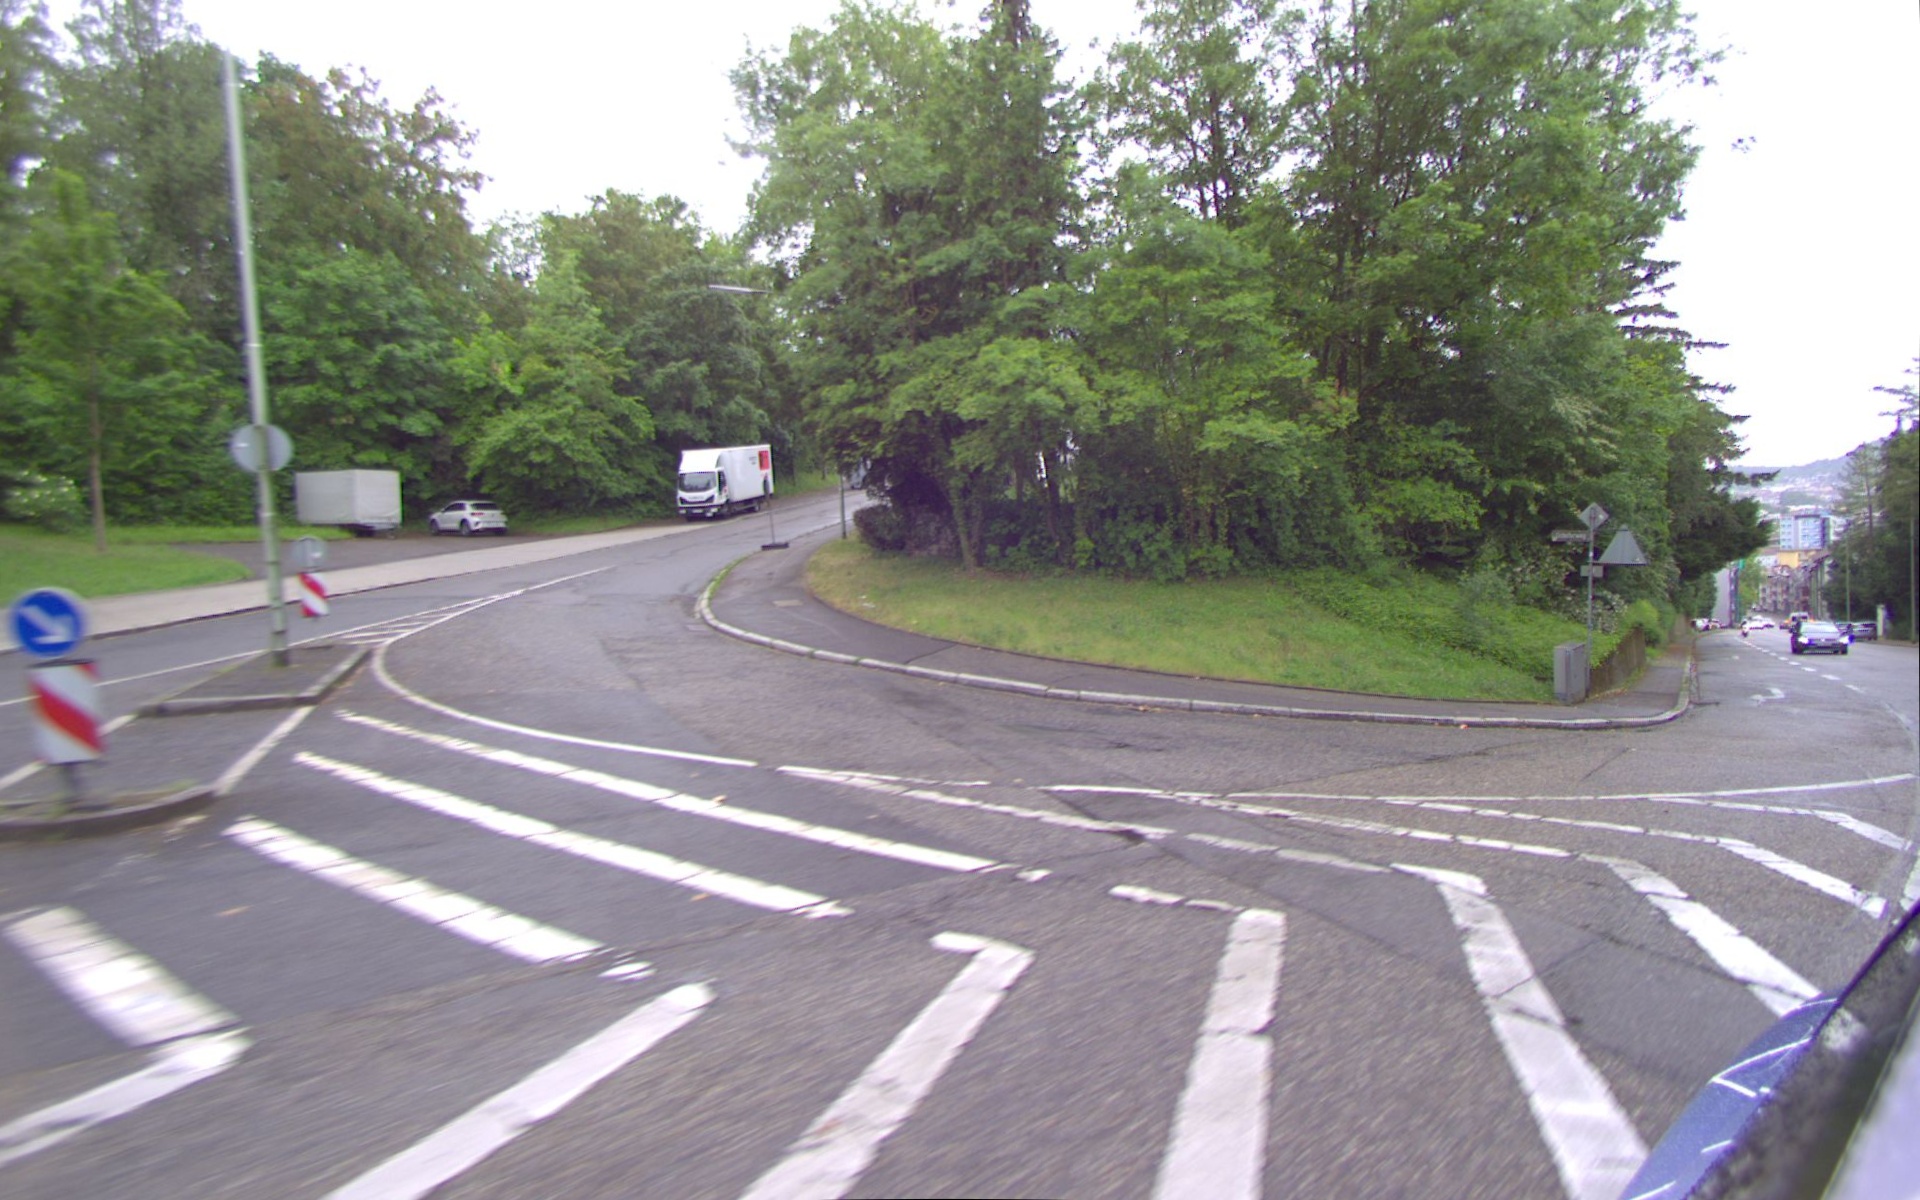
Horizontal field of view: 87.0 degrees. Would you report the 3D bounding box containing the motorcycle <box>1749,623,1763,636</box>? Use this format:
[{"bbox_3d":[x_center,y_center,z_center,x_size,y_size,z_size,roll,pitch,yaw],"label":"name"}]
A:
[{"bbox_3d":[71.473,2.649,90.863,0.776,1.141,2.264,-4,-3,41],"label":"motorcycle"}]

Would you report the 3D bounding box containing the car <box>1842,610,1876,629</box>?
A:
[{"bbox_3d":[79.362,1.716,89.400,1.882,1.632,4.182,1,0,37],"label":"car"}]

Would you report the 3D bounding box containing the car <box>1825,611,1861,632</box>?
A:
[{"bbox_3d":[65.714,1.575,75.338,1.670,1.515,3.415,-2,-2,36],"label":"car"}]

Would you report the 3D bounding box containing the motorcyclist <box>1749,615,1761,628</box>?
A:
[{"bbox_3d":[71.329,1.895,90.762,0.776,1.141,0.540,-4,-3,42],"label":"motorcyclist"}]

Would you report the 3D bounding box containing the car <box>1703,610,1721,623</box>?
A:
[{"bbox_3d":[102.215,2.255,137.535,1.761,1.644,4.615,-1,0,38],"label":"car"}]

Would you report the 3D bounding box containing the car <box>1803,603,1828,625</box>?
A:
[{"bbox_3d":[105.644,1.690,124.989,2.114,2.583,5.366,1,0,39],"label":"car"}]

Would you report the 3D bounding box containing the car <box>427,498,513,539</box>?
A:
[{"bbox_3d":[-21.541,-3.570,44.477,3.594,1.642,1.824,3,1,34],"label":"car"}]

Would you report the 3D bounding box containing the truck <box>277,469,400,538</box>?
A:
[{"bbox_3d":[-26.038,-4.018,42.340,5.526,2.728,1.941,3,4,29],"label":"truck"}]

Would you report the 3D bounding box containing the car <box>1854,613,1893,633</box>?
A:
[{"bbox_3d":[72.273,1.794,80.111,1.619,1.519,3.879,-4,-3,34],"label":"car"}]

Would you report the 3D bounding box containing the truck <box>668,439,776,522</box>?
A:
[{"bbox_3d":[-11.838,-6.192,51.290,2.435,3.782,8.237,-1,8,7],"label":"truck"}]

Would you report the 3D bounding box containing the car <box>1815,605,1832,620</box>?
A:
[{"bbox_3d":[147.735,2.146,173.170,2.114,2.583,5.366,1,0,39],"label":"car"}]

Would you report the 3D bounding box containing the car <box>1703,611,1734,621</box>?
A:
[{"bbox_3d":[132.370,2.774,176.605,4.178,1.594,1.777,3,1,40],"label":"car"}]

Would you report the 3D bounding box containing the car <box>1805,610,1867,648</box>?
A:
[{"bbox_3d":[39.575,1.303,45.798,1.990,1.634,3.909,-2,-1,40],"label":"car"}]
